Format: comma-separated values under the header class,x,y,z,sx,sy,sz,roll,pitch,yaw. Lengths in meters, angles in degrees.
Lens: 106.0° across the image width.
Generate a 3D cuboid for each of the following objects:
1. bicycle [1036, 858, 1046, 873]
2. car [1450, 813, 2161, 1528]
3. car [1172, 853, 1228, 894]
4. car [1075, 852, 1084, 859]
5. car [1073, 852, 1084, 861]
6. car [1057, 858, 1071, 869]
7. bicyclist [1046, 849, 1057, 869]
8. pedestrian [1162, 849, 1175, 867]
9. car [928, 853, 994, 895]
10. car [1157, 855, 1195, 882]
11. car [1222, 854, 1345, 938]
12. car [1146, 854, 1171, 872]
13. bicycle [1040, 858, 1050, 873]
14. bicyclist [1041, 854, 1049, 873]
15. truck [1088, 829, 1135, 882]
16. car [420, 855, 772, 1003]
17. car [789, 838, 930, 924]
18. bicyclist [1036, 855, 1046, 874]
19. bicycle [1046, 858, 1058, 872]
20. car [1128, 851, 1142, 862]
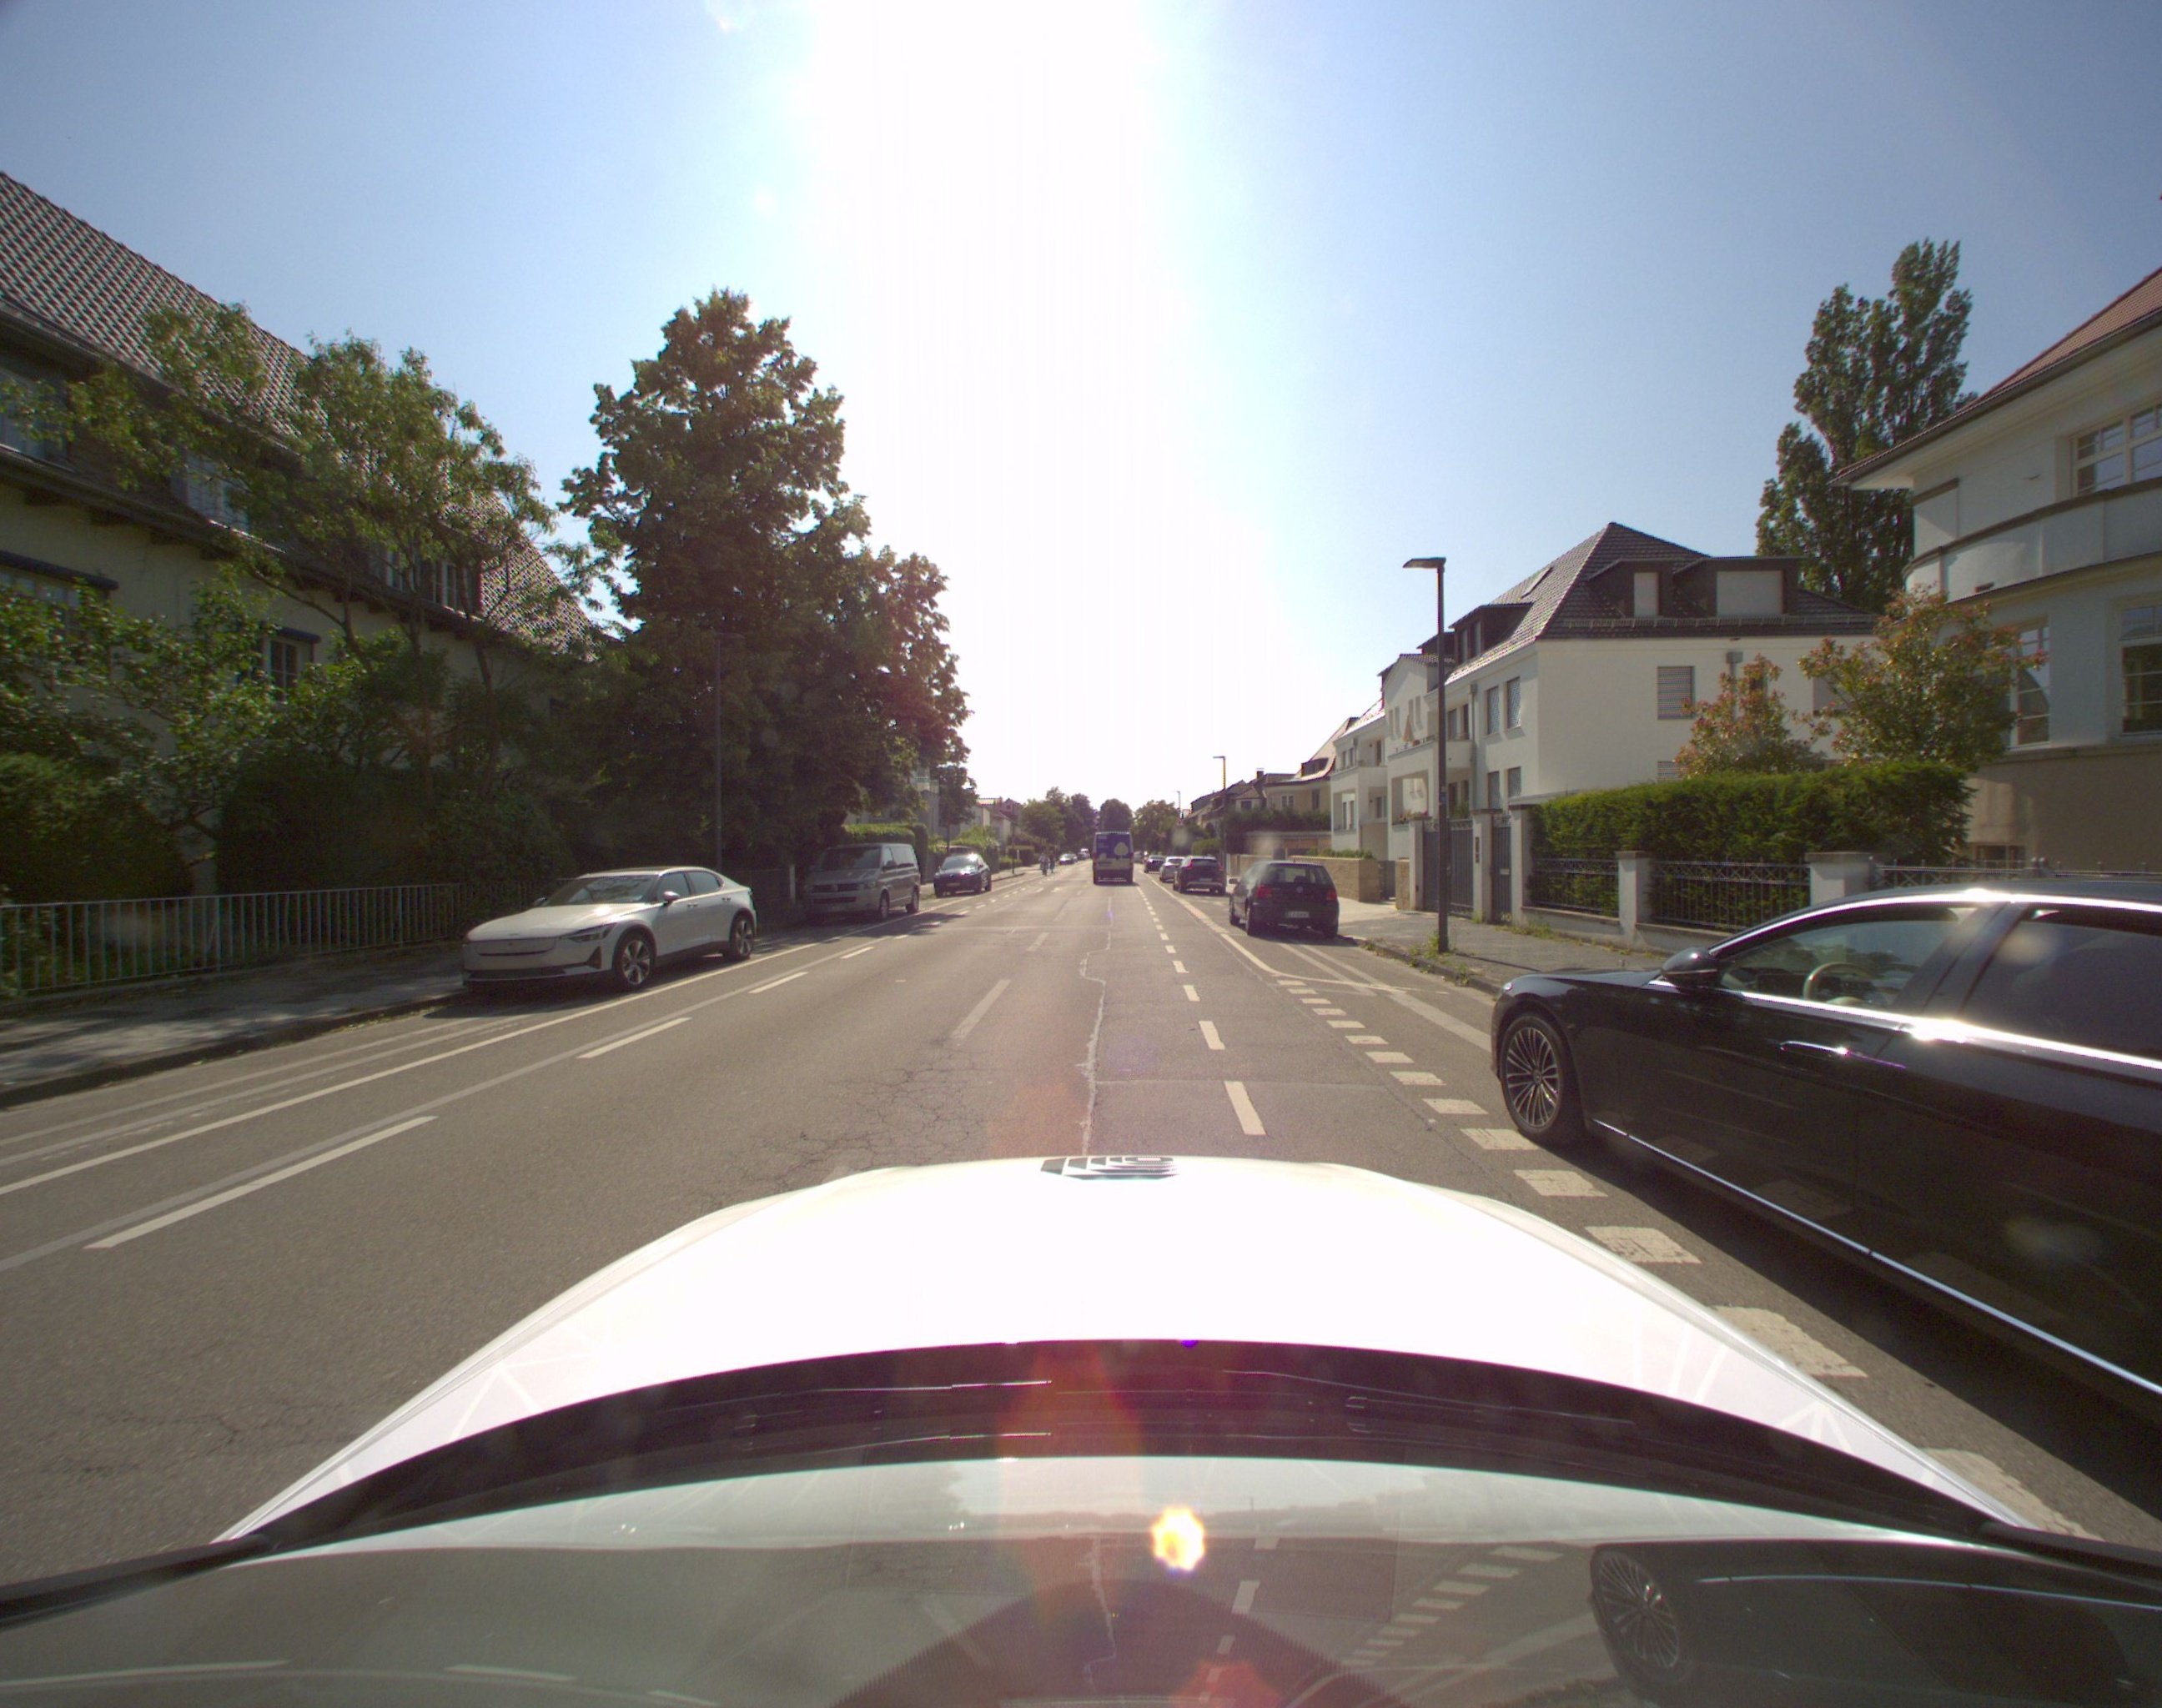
class,x,y,z,sx,sy,sz,roll,pitch,yaw
bicycle,-3.276,0.953,67.289,0.557,1.185,2.037,-2,0,3
car,3.256,0.729,2.798,1.691,1.583,4.899,2,0,0
car,4.694,0.753,32.691,1.715,1.449,4.170,3,0,2
car,-0.276,0.368,173.529,1.774,1.460,4.087,-1,0,1
car,-0.343,0.465,139.260,1.779,1.440,4.001,-1,0,1
car,-2.409,1.297,115.837,1.780,1.440,4.153,-2,0,-1
bicyclist,-2.597,0.437,71.541,0.746,1.667,1.022,-3,-1,2
pedestrian,9.443,0.450,88.080,0.904,1.872,1.177,0,-1,-31
car,-4.976,0.790,34.311,1.843,1.611,4.451,-1,0,3
car,5.164,0.812,44.606,1.729,1.329,4.078,3,-1,3
car,4.016,0.774,16.779,1.613,1.449,4.001,3,0,2
car,6.019,0.684,63.713,1.730,1.329,4.262,-1,0,2
bicycle,-2.756,0.878,62.556,0.598,1.105,1.347,-3,-1,3
bicyclist,-2.757,0.742,62.578,0.488,1.454,0.965,-3,-1,2
truck,1.515,0.078,42.221,2.265,2.571,4.391,0,0,0
car,-6.162,0.828,11.166,1.826,1.485,4.566,-3,0,3
car,-5.546,0.623,21.159,1.876,1.919,4.875,-2,0,5
bicyclist,-3.318,0.874,67.293,0.673,1.580,0.860,-3,-1,2
bicycle,-2.539,0.991,72.010,0.779,1.166,2.421,-3,0,3
car,7.892,0.394,118.796,1.734,1.402,4.075,-1,2,1
